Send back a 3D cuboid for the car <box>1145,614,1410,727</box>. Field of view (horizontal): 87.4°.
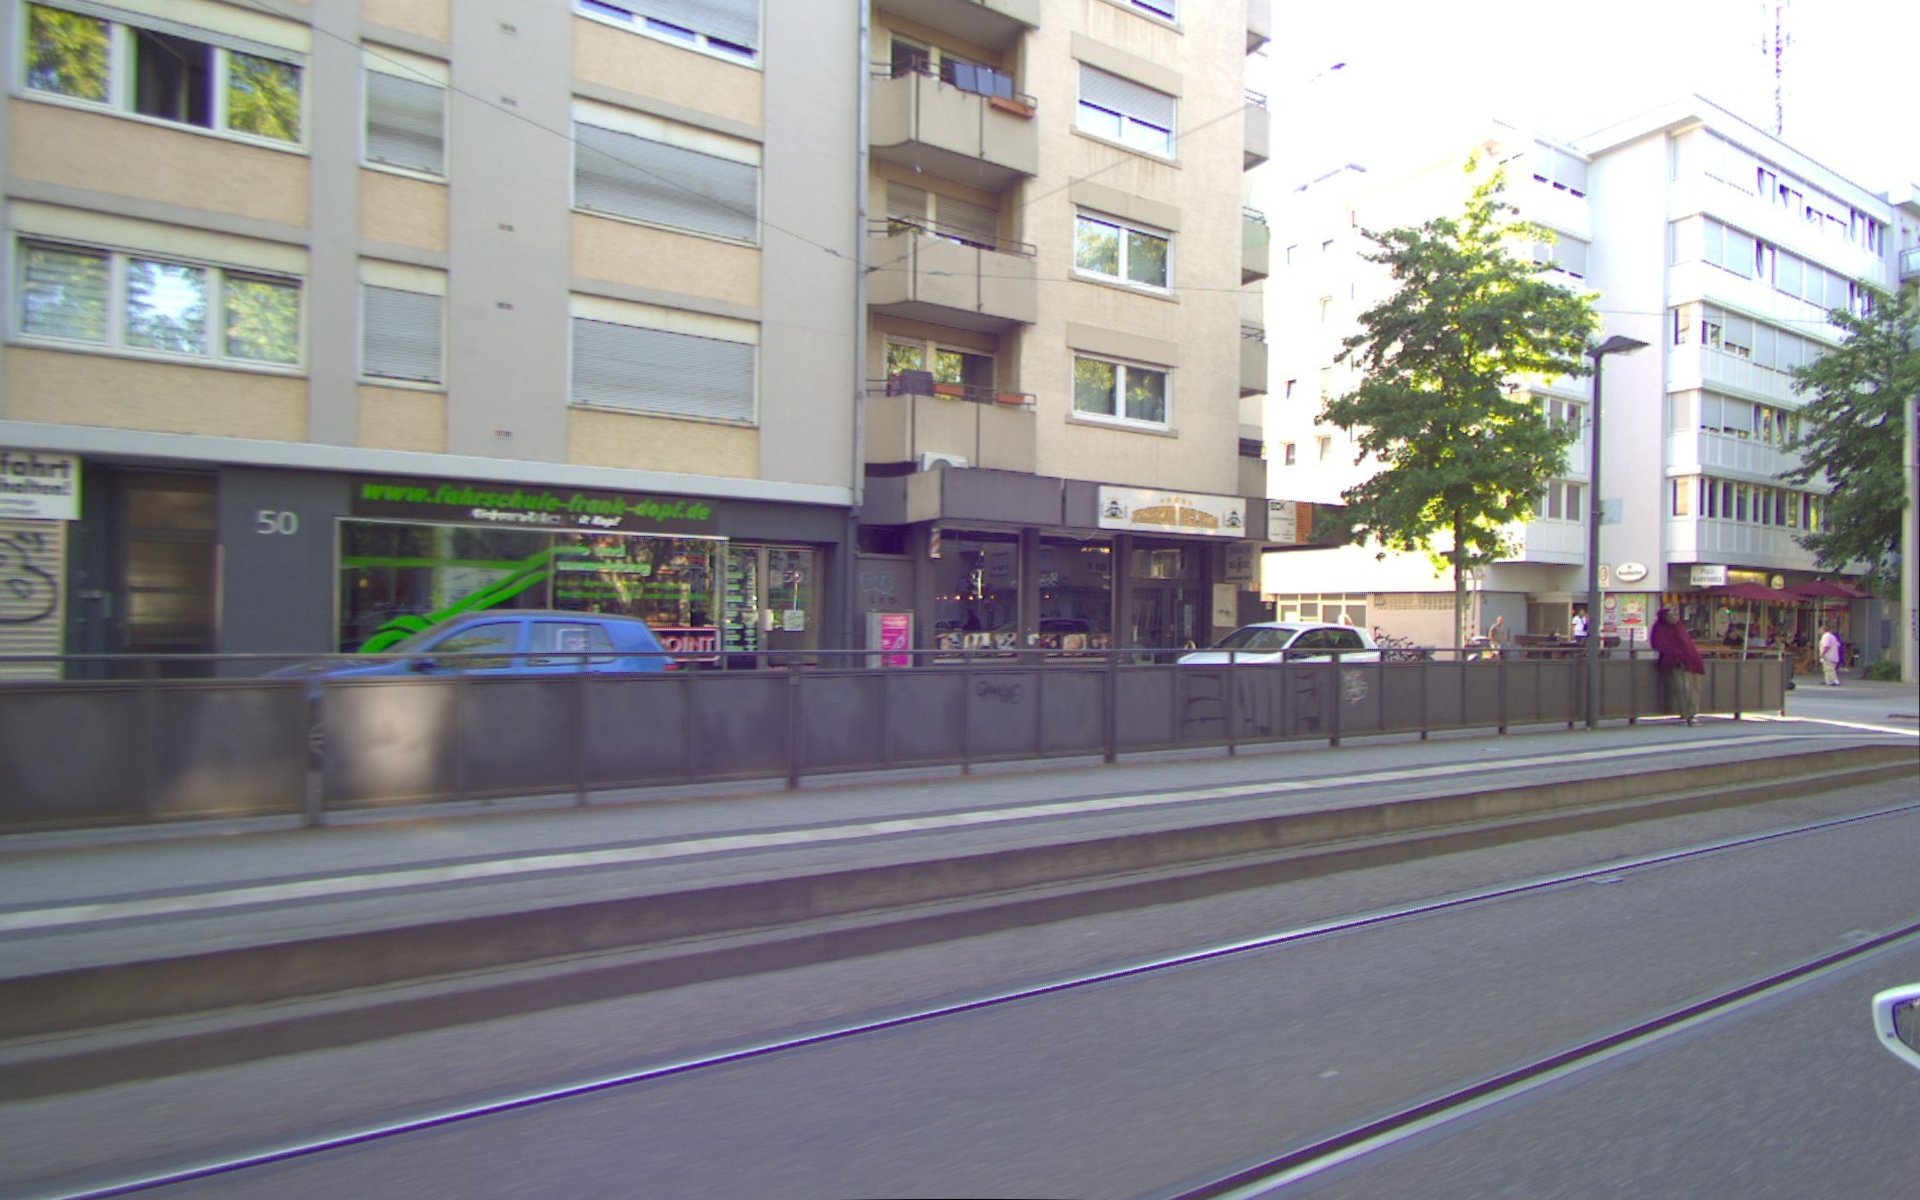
[{"bbox_3d":[5.342,1.104,16.772,4.308,1.673,1.868,1,-2,-31],"label":"car"}]

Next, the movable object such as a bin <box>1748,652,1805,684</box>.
[{"bbox_3d":[22.266,1.841,27.426,1.178,0.767,0.663,2,0,39],"label":"movable object such as a bin"}]

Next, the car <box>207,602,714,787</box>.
[{"bbox_3d":[-4.972,0.868,10.457,4.337,1.565,1.947,1,-2,-30],"label":"car"}]

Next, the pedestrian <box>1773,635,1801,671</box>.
[{"bbox_3d":[28.387,1.800,34.483,0.591,1.214,0.691,0,-1,25],"label":"pedestrian"}]

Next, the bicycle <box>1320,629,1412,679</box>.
[{"bbox_3d":[9.949,1.305,24.647,2.006,1.172,0.570,0,-1,38],"label":"bicycle"}]

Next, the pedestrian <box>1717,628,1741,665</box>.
[{"bbox_3d":[25.769,1.558,33.668,0.553,1.214,0.513,0,-1,25],"label":"pedestrian"}]

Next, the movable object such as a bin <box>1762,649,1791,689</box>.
[{"bbox_3d":[20.318,1.710,24.993,0.533,0.944,0.646,0,-1,43],"label":"movable object such as a bin"}]

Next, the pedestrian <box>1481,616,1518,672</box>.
[{"bbox_3d":[16.577,1.345,30.872,0.761,1.693,0.752,1,-1,-35],"label":"pedestrian"}]

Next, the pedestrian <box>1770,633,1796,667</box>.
[{"bbox_3d":[29.826,1.822,36.418,0.617,1.214,0.559,1,-1,-31],"label":"pedestrian"}]

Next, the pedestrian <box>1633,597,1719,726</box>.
[{"bbox_3d":[9.306,0.783,13.055,0.763,1.606,0.651,1,-1,-30],"label":"pedestrian"}]

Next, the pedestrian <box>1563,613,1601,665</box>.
[{"bbox_3d":[20.568,1.275,33.213,0.756,1.681,0.747,1,-1,-15],"label":"pedestrian"}]

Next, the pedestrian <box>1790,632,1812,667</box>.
[{"bbox_3d":[29.167,1.707,34.846,0.504,1.214,0.562,0,-1,31],"label":"pedestrian"}]

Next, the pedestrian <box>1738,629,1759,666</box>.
[{"bbox_3d":[25.815,1.546,32.878,0.506,1.214,0.560,0,-1,44],"label":"pedestrian"}]

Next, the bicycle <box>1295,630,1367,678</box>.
[{"bbox_3d":[9.762,1.405,26.492,0.567,1.172,1.771,1,-1,-36],"label":"bicycle"}]

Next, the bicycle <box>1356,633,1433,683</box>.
[{"bbox_3d":[10.839,1.438,25.111,0.564,1.172,1.853,1,-1,-25],"label":"bicycle"}]

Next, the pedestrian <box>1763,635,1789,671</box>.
[{"bbox_3d":[27.312,1.769,33.612,0.557,1.214,0.509,1,-1,-28],"label":"pedestrian"}]

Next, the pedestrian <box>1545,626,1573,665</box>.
[{"bbox_3d":[19.592,1.473,32.868,0.735,1.258,0.768,0,-1,26],"label":"pedestrian"}]

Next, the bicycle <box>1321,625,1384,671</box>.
[{"bbox_3d":[10.472,1.260,26.848,0.563,1.172,1.782,1,-1,-19],"label":"bicycle"}]

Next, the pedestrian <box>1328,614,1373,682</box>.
[{"bbox_3d":[9.332,1.138,24.006,0.717,1.577,0.722,1,-1,-29],"label":"pedestrian"}]

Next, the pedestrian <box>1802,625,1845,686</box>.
[{"bbox_3d":[22.995,1.460,26.748,0.761,1.577,0.720,1,-1,-35],"label":"pedestrian"}]

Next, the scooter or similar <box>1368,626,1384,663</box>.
[{"bbox_3d":[14.778,1.555,35.654,0.489,1.276,1.306,0,-1,24],"label":"scooter or similar"}]

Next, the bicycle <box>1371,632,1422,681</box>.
[{"bbox_3d":[11.260,1.441,25.976,0.561,1.172,1.790,1,-1,1],"label":"bicycle"}]

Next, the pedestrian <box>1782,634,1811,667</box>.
[{"bbox_3d":[30.897,1.863,37.107,0.648,1.214,0.669,1,-1,-31],"label":"pedestrian"}]

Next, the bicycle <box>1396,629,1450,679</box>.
[{"bbox_3d":[11.657,1.341,25.318,0.561,1.172,1.790,1,-1,1],"label":"bicycle"}]
